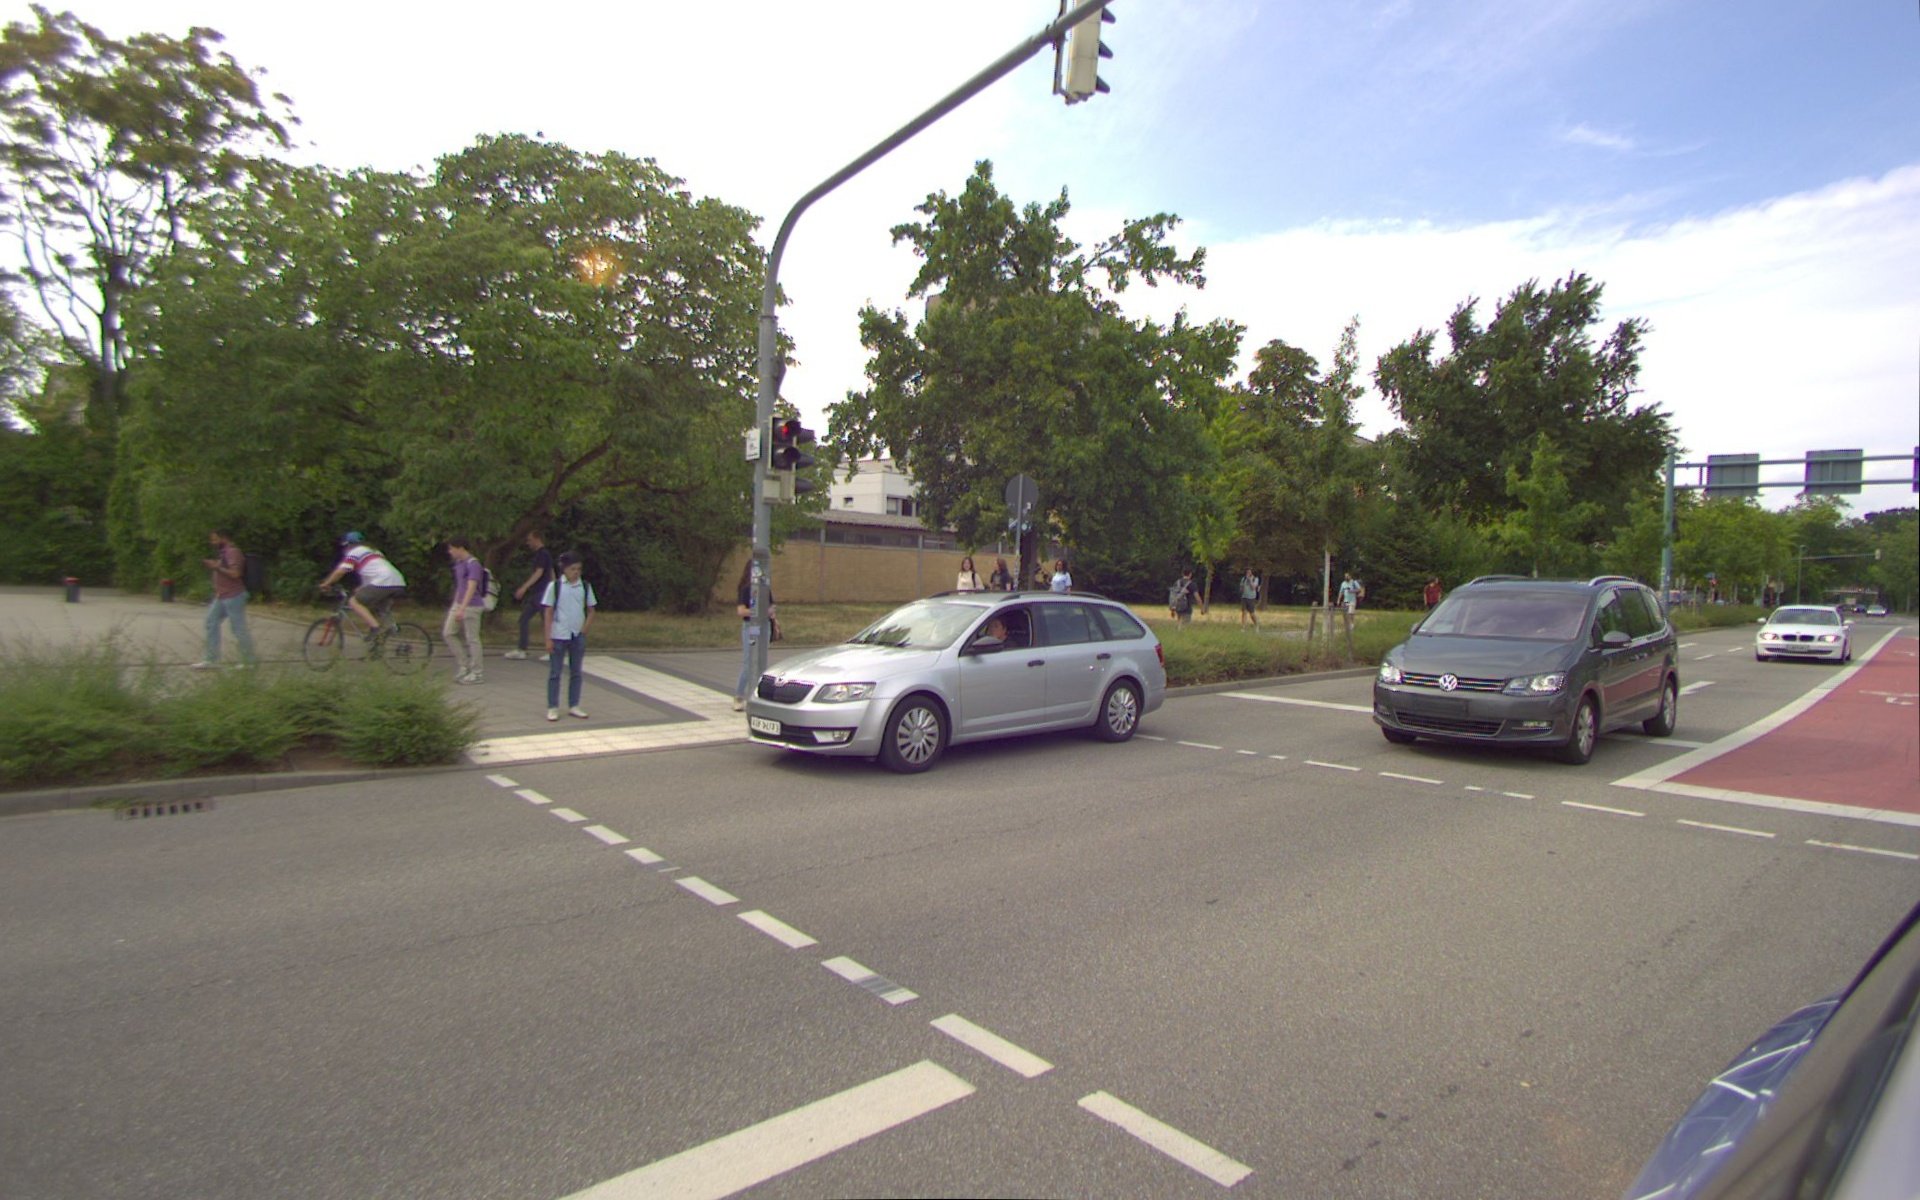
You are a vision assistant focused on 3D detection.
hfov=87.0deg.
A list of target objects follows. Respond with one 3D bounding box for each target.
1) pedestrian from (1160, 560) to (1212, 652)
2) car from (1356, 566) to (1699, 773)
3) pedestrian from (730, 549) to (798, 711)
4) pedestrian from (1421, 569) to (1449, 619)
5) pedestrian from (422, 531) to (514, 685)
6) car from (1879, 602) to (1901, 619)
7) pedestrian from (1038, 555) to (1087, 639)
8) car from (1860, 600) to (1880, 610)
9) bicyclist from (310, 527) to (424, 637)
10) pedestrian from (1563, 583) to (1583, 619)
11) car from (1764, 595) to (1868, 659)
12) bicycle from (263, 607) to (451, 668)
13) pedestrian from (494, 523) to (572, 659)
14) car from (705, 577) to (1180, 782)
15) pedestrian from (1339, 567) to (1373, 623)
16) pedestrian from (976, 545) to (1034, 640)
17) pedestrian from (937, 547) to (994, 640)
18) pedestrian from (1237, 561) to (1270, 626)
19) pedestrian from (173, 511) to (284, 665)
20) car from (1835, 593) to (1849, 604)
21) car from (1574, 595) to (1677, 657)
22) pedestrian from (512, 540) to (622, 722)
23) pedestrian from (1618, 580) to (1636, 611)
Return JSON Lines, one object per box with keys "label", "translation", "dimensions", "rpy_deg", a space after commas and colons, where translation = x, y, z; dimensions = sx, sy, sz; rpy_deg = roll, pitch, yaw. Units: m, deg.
{"label": "pedestrian", "translation": [4.397, 0.111, 19.710], "dimensions": [0.681, 1.732, 0.733], "rpy_deg": [0, 0, -42]}
{"label": "car", "translation": [5.990, 0.541, 10.405], "dimensions": [4.607, 1.671, 1.757], "rpy_deg": [0, 0, -43]}
{"label": "pedestrian", "translation": [-2.170, 0.320, 11.219], "dimensions": [0.577, 1.732, 0.480], "rpy_deg": [0, 0, -40]}
{"label": "pedestrian", "translation": [16.853, -0.207, 35.897], "dimensions": [0.712, 1.732, 0.684], "rpy_deg": [0, 0, 45]}
{"label": "pedestrian", "translation": [-5.793, 0.085, 11.908], "dimensions": [0.786, 1.732, 0.838], "rpy_deg": [0, 0, -42]}
{"label": "car", "translation": [114.109, 1.282, 124.219], "dimensions": [1.993, 2.039, 3.939], "rpy_deg": [0, 0, 42]}
{"label": "pedestrian", "translation": [2.180, -0.074, 21.449], "dimensions": [0.711, 1.732, 0.788], "rpy_deg": [0, 0, 41]}
{"label": "car", "translation": [148.407, 0.734, 164.991], "dimensions": [3.931, 1.594, 1.996], "rpy_deg": [0, 0, -42]}
{"label": "bicyclist", "translation": [-7.244, -0.215, 12.415], "dimensions": [0.992, 1.293, 0.841], "rpy_deg": [0, 0, -11]}
{"label": "pedestrian", "translation": [30.239, 0.034, 49.938], "dimensions": [0.712, 1.732, 0.684], "rpy_deg": [0, 0, 45]}
{"label": "car", "translation": [21.802, 0.616, 25.720], "dimensions": [1.755, 1.476, 4.156], "rpy_deg": [0, 0, 44]}
{"label": "bicycle", "translation": [-7.355, 0.445, 12.431], "dimensions": [1.807, 0.702, 0.845], "rpy_deg": [0, 0, -10]}
{"label": "pedestrian", "translation": [-5.994, -0.124, 14.197], "dimensions": [0.786, 1.831, 0.838], "rpy_deg": [0, 0, -42]}
{"label": "car", "translation": [0.034, 0.562, 9.586], "dimensions": [4.452, 1.493, 1.821], "rpy_deg": [0, 0, -43]}
{"label": "pedestrian", "translation": [12.597, -0.158, 32.209], "dimensions": [0.839, 1.732, 0.685], "rpy_deg": [0, 0, 41]}
{"label": "pedestrian", "translation": [0.857, -0.140, 19.047], "dimensions": [0.832, 1.732, 0.791], "rpy_deg": [0, 0, 30]}
{"label": "pedestrian", "translation": [0.114, -0.123, 19.459], "dimensions": [0.832, 1.732, 0.791], "rpy_deg": [0, 0, 30]}
{"label": "pedestrian", "translation": [7.971, -0.182, 27.494], "dimensions": [0.542, 1.716, 0.685], "rpy_deg": [4, 3, 41]}
{"label": "pedestrian", "translation": [-8.704, -0.140, 12.047], "dimensions": [0.996, 1.732, 0.838], "rpy_deg": [0, 0, -42]}
{"label": "car", "translation": [168.676, -0.221, 193.485], "dimensions": [1.993, 2.039, 3.939], "rpy_deg": [0, 0, 42]}
{"label": "car", "translation": [16.750, 0.585, 25.429], "dimensions": [1.665, 1.433, 3.404], "rpy_deg": [0, 0, 42]}
{"label": "pedestrian", "translation": [-3.955, 0.289, 10.181], "dimensions": [0.825, 1.732, 0.799], "rpy_deg": [0, 0, -40]}
{"label": "pedestrian", "translation": [37.463, -0.264, 56.843], "dimensions": [0.712, 1.732, 0.684], "rpy_deg": [0, 0, 45]}
